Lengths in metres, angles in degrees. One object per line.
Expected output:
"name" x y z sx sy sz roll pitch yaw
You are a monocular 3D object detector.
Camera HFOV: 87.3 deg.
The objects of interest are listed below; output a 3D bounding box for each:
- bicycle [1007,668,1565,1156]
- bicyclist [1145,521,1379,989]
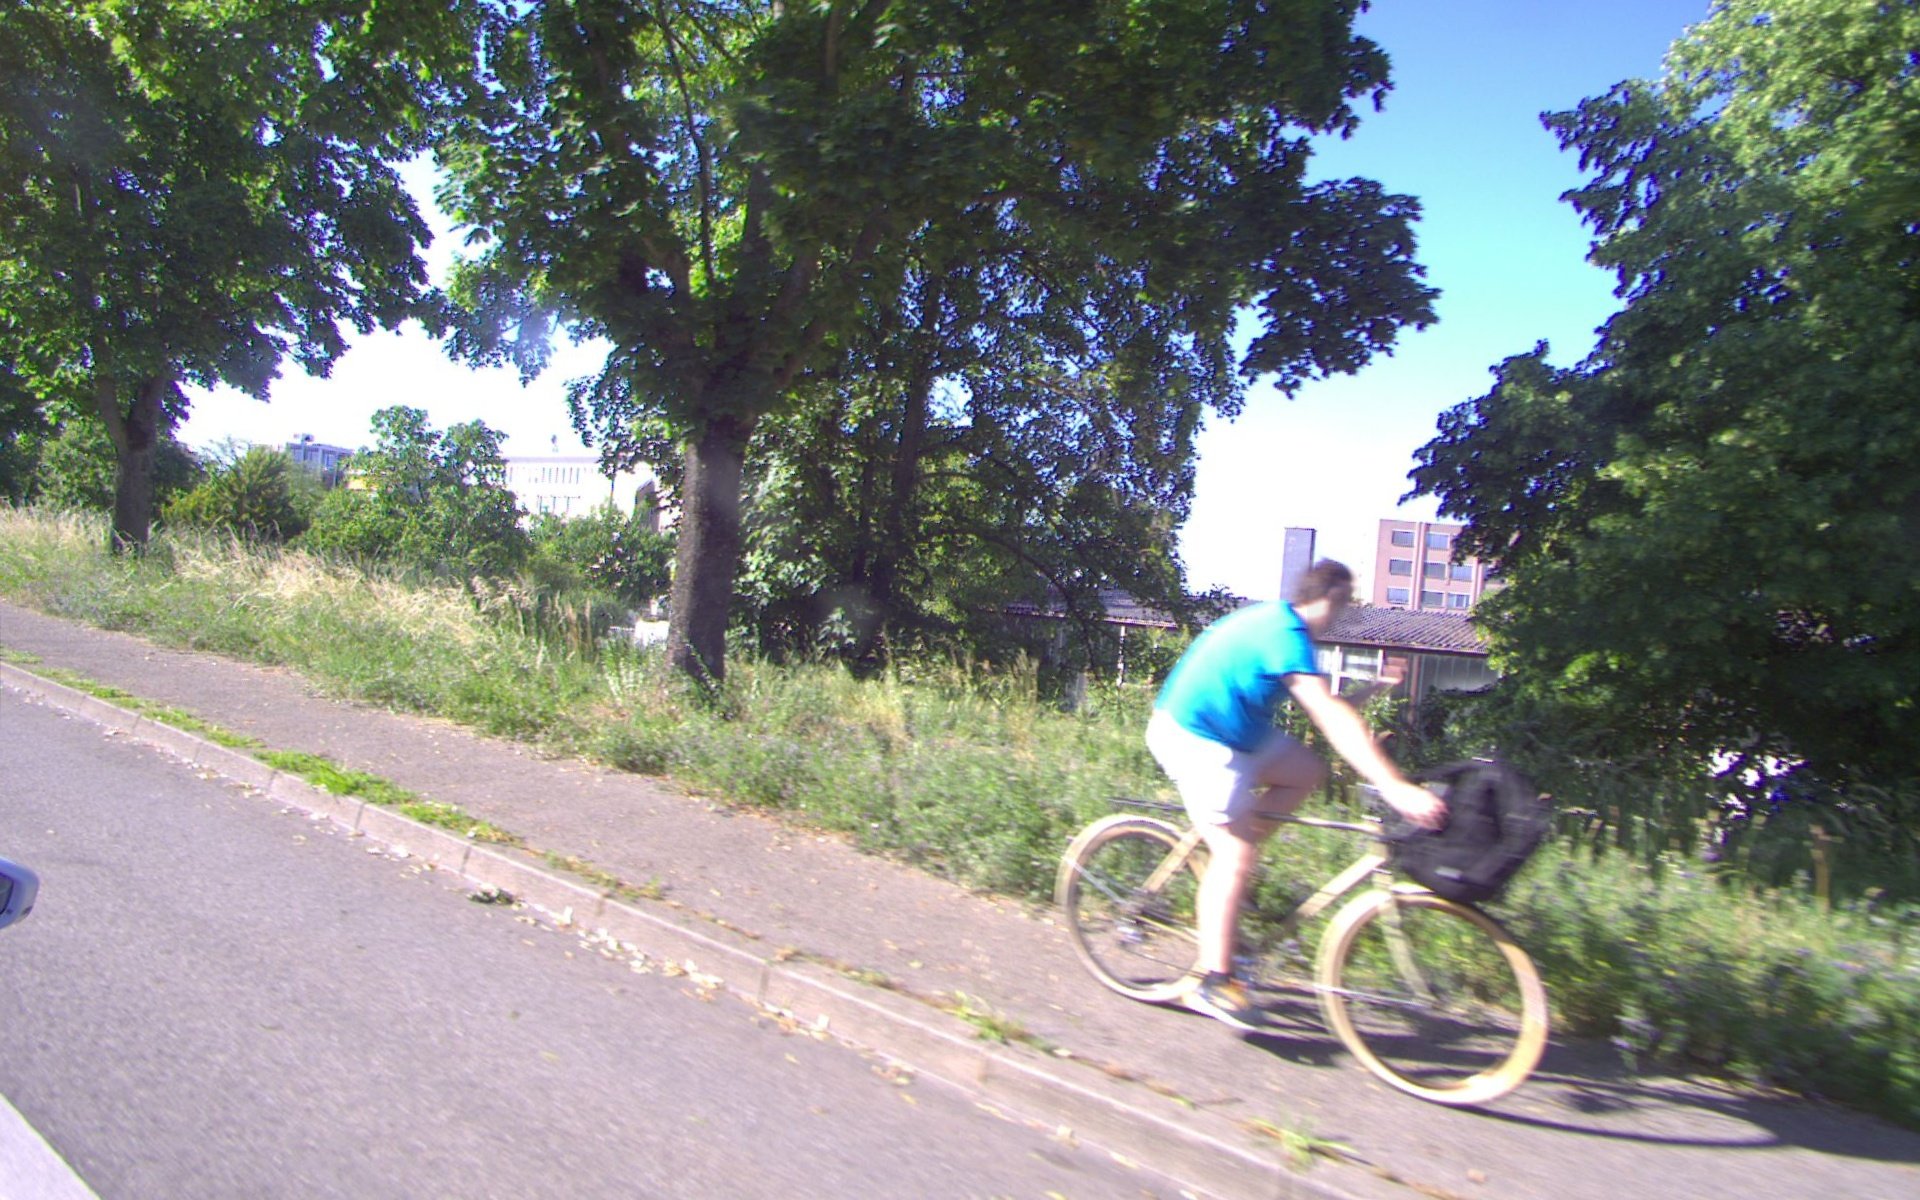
"bicycle" 1.070 0.953 3.543 1.693 1.203 0.418 7 1 31
"bicyclist" 1.094 0.517 3.643 0.565 1.526 0.405 7 1 31
